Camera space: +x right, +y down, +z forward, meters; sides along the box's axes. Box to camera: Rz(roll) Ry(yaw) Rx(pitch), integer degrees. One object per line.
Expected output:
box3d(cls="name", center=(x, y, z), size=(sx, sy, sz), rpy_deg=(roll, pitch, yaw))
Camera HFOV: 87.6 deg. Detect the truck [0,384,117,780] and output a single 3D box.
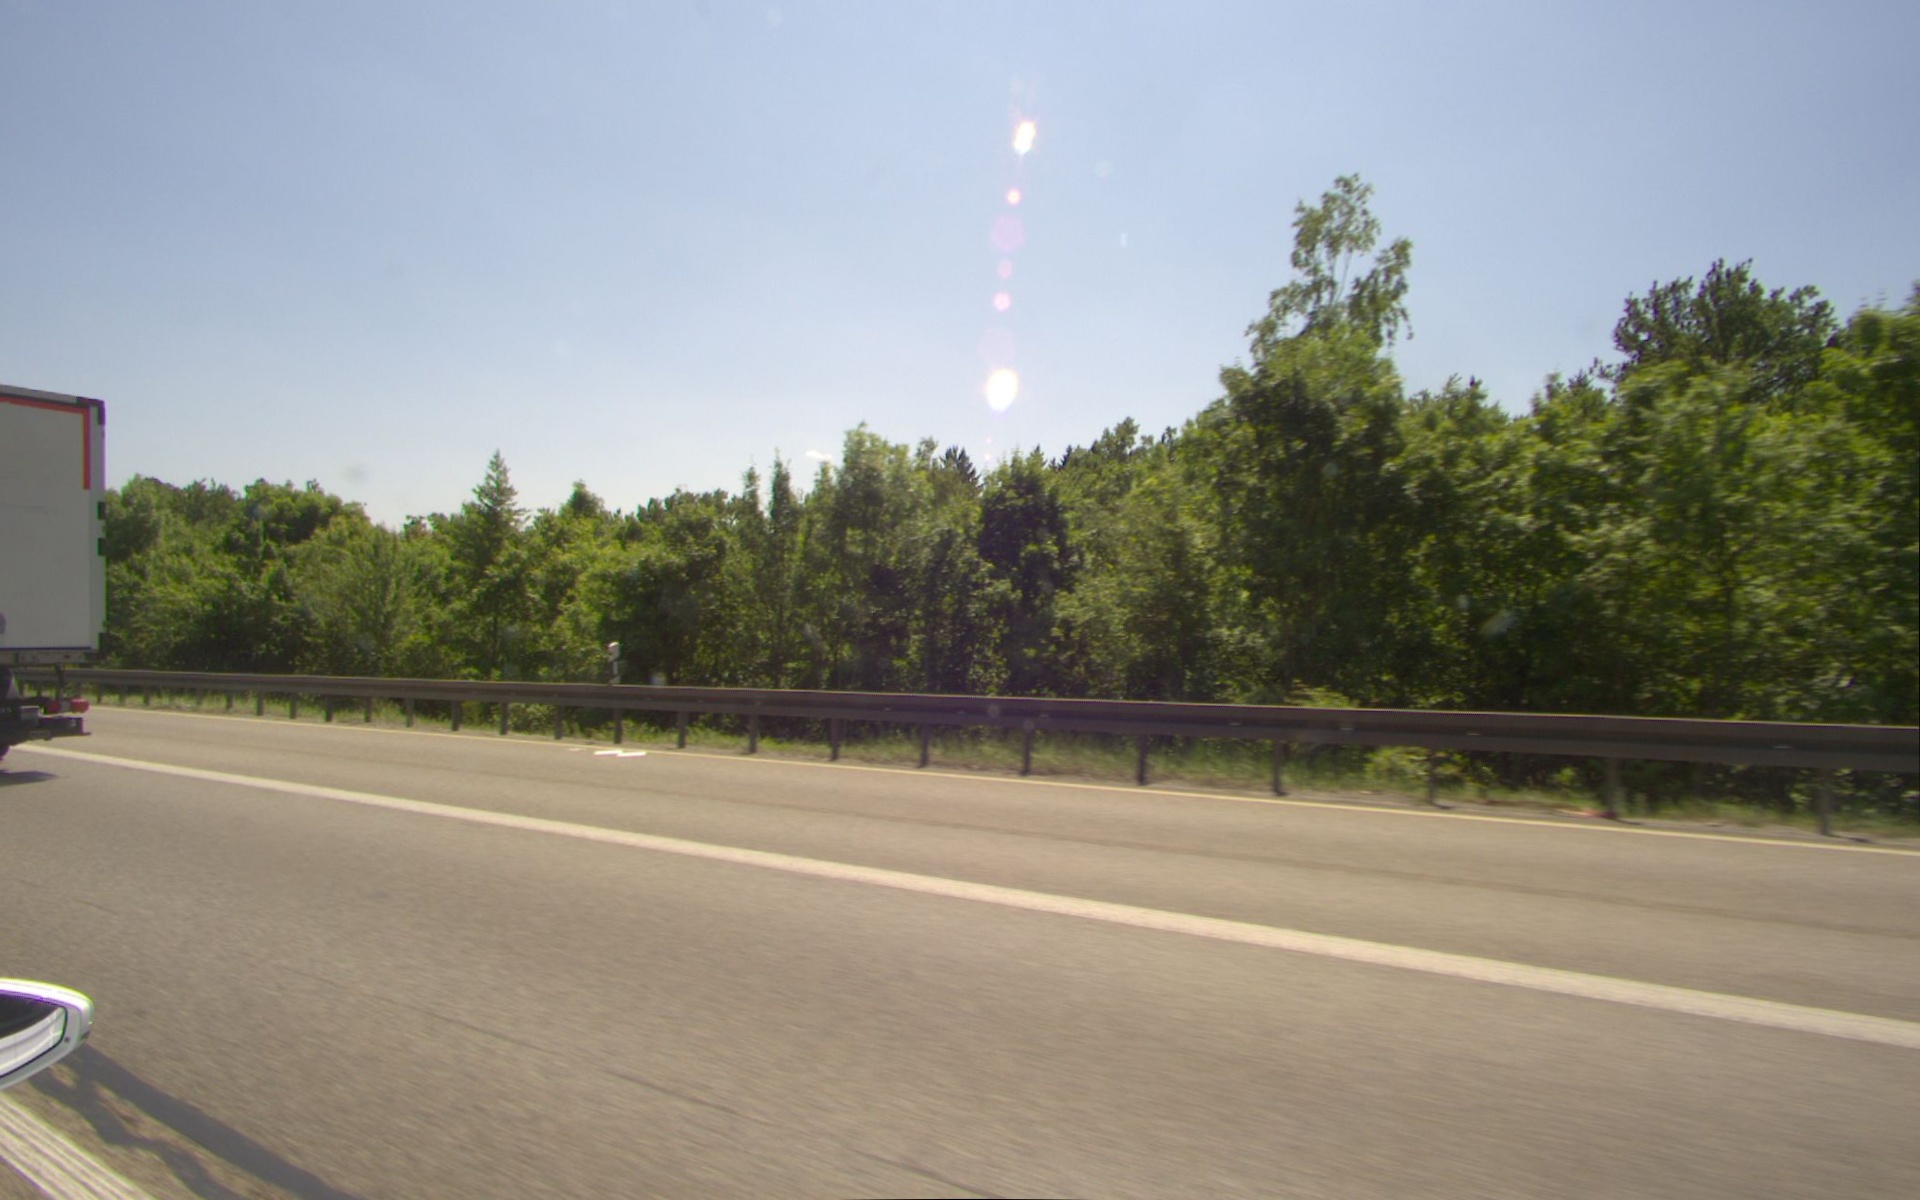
box3d(cls="truck", center=(-13.812, -0.091, 12.139), size=(9.641, 3.927, 2.682), rpy_deg=(-1, 0, 32))
